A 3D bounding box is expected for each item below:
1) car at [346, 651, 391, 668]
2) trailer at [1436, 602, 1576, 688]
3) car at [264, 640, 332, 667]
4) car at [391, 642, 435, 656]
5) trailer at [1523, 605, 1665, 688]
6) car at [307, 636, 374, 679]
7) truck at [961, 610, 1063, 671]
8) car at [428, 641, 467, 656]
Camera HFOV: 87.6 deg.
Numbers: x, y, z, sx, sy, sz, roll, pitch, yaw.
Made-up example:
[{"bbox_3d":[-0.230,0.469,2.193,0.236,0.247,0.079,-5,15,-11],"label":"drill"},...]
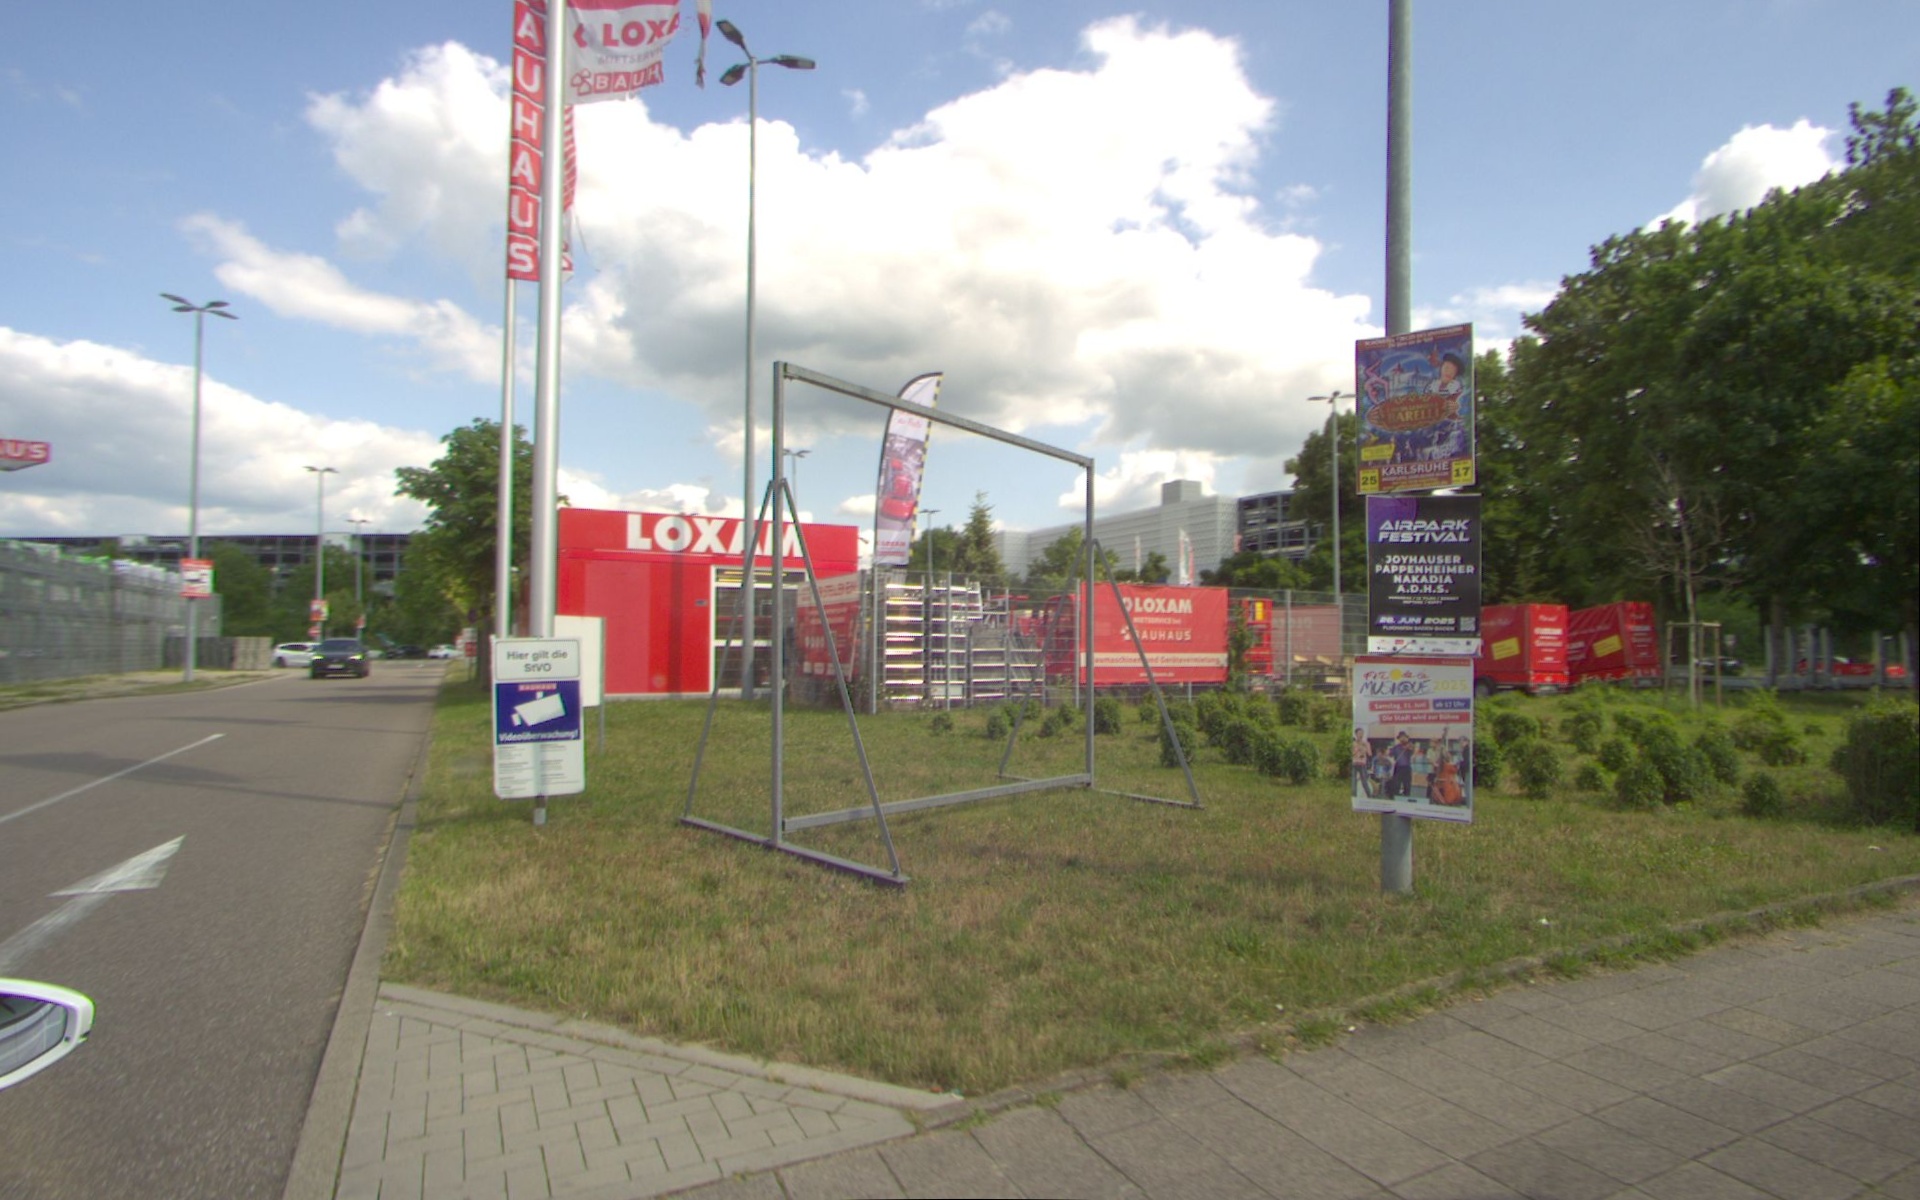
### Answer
[{"bbox_3d":[-60.407,6.017,102.293,1.659,1.527,4.082,-6,-4,10],"label":"car"},{"bbox_3d":[13.708,1.139,25.256,1.477,2.039,2.786,1,-3,-24],"label":"trailer"},{"bbox_3d":[-37.813,3.061,57.243,2.839,1.534,1.534,1,-2,-7],"label":"car"},{"bbox_3d":[-55.226,4.954,101.102,1.700,1.428,4.245,0,-3,7],"label":"car"},{"bbox_3d":[16.612,1.230,26.338,1.478,2.039,2.783,2,-3,-29],"label":"trailer"},{"bbox_3d":[-25.601,2.337,41.519,1.892,1.639,4.357,1,-2,-26],"label":"car"},{"bbox_3d":[3.207,2.602,64.910,2.687,3.644,9.005,1,-2,-25],"label":"truck"},{"bbox_3d":[-51.232,4.859,100.137,1.639,1.429,3.557,0,-3,12],"label":"car"}]
